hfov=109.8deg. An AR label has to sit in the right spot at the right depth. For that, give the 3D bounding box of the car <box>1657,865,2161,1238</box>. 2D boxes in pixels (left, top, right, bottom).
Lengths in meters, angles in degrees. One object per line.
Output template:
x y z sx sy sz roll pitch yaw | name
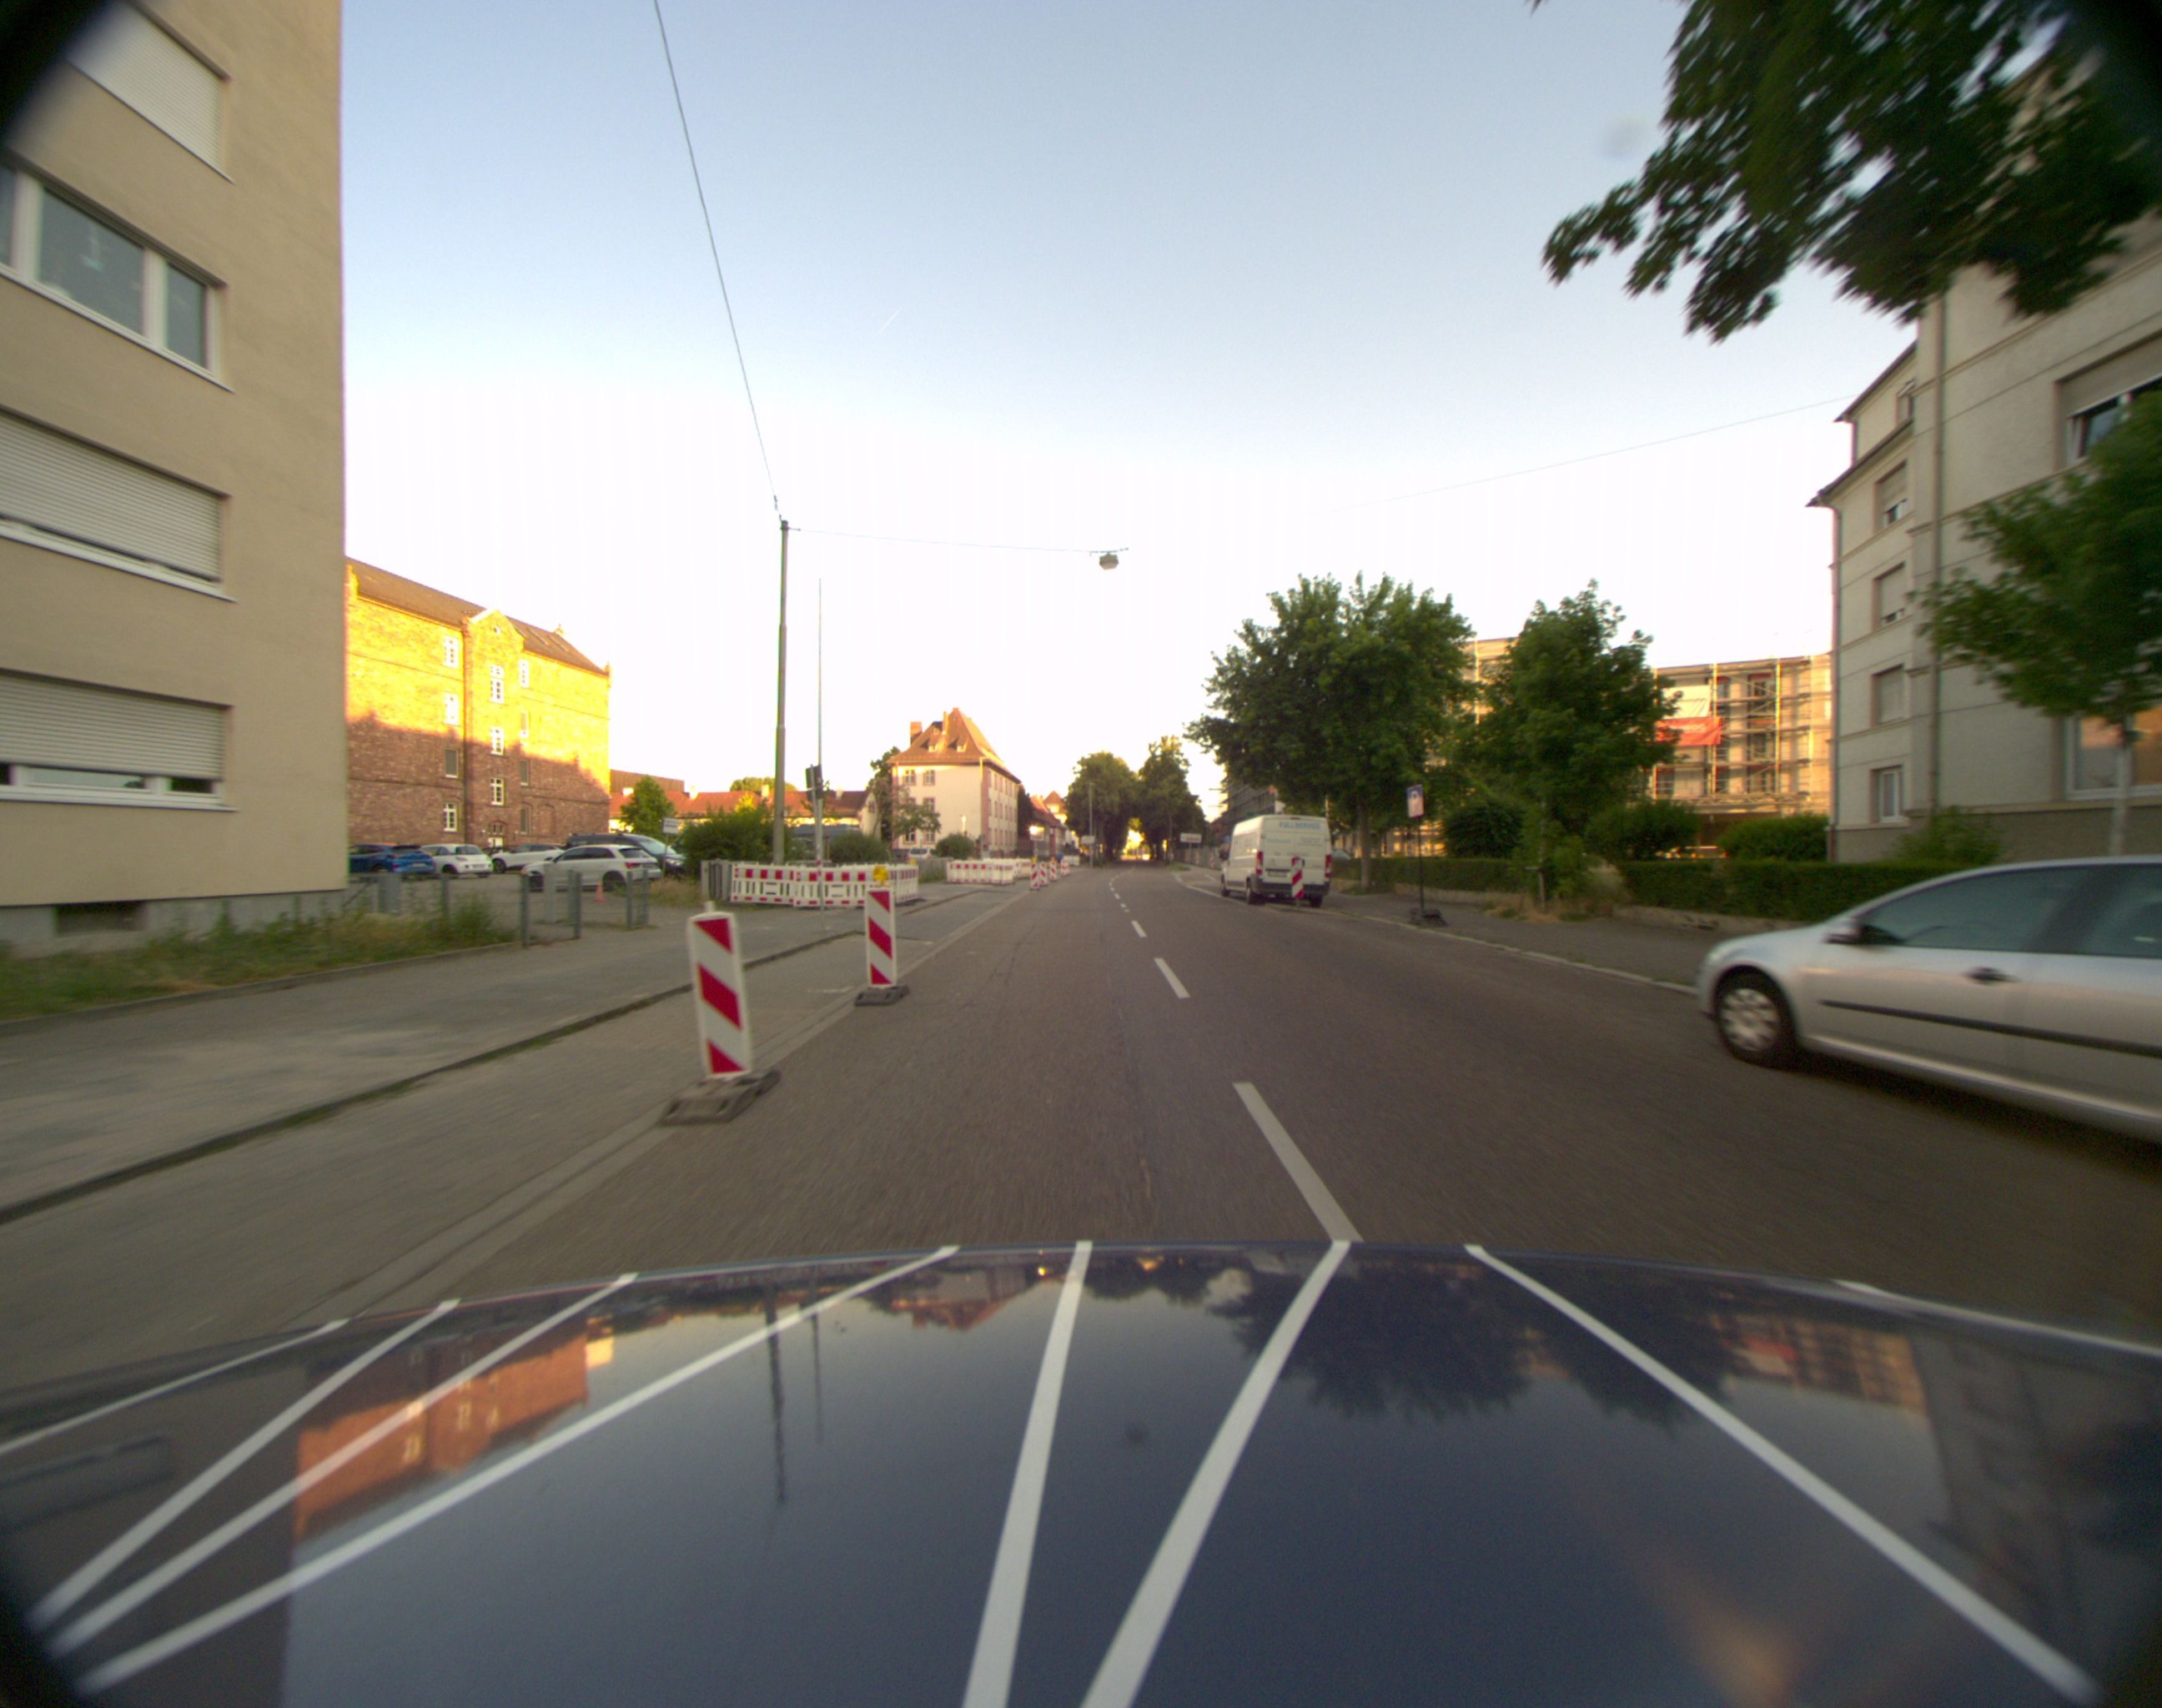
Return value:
5.328 0.868 3.767 1.756 1.463 4.224 3 0 2 | car

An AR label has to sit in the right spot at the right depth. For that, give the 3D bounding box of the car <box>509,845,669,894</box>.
-15.008 0.449 23.303 3.839 1.444 1.695 0 1 3 | car

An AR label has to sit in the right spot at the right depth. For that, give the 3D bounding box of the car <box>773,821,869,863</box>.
-13.956 -0.624 40.917 4.433 2.184 2.001 0 1 5 | car

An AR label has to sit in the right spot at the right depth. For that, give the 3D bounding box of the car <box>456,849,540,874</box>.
-37.532 0.470 48.980 4.143 1.509 1.828 0 1 4 | car

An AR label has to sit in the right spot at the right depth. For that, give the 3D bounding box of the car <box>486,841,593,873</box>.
-26.491 0.131 37.243 3.926 1.509 2.001 0 1 6 | car

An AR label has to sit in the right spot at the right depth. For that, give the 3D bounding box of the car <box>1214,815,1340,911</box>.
5.725 0.218 23.135 2.184 2.447 6.102 3 0 0 | car

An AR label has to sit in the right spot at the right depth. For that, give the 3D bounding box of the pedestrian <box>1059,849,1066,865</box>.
-1.838 0.312 75.120 0.716 1.600 0.518 -1 1 -4 | pedestrian

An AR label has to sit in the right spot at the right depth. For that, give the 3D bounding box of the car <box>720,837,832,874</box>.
-14.257 0.069 35.661 4.433 1.639 2.001 0 1 5 | car

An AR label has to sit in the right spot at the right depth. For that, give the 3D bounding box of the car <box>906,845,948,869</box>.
-11.088 0.199 54.934 1.919 1.620 4.808 -1 0 1 | car

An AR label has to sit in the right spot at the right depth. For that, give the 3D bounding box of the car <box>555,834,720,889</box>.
-15.049 0.239 25.959 4.489 1.800 2.005 0 1 3 | car

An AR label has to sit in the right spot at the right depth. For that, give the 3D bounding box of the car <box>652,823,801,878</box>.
-14.335 -0.131 30.920 5.030 2.117 2.291 0 1 8 | car

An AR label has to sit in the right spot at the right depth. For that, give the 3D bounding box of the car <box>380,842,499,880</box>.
-27.000 0.275 32.049 3.726 1.509 1.828 0 1 10 | car

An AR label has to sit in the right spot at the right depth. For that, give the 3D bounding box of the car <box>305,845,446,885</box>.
-27.559 0.398 29.755 3.937 1.509 1.986 0 1 8 | car

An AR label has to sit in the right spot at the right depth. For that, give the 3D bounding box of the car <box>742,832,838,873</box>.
-14.518 -0.090 38.027 3.995 2.002 2.001 0 1 5 | car
